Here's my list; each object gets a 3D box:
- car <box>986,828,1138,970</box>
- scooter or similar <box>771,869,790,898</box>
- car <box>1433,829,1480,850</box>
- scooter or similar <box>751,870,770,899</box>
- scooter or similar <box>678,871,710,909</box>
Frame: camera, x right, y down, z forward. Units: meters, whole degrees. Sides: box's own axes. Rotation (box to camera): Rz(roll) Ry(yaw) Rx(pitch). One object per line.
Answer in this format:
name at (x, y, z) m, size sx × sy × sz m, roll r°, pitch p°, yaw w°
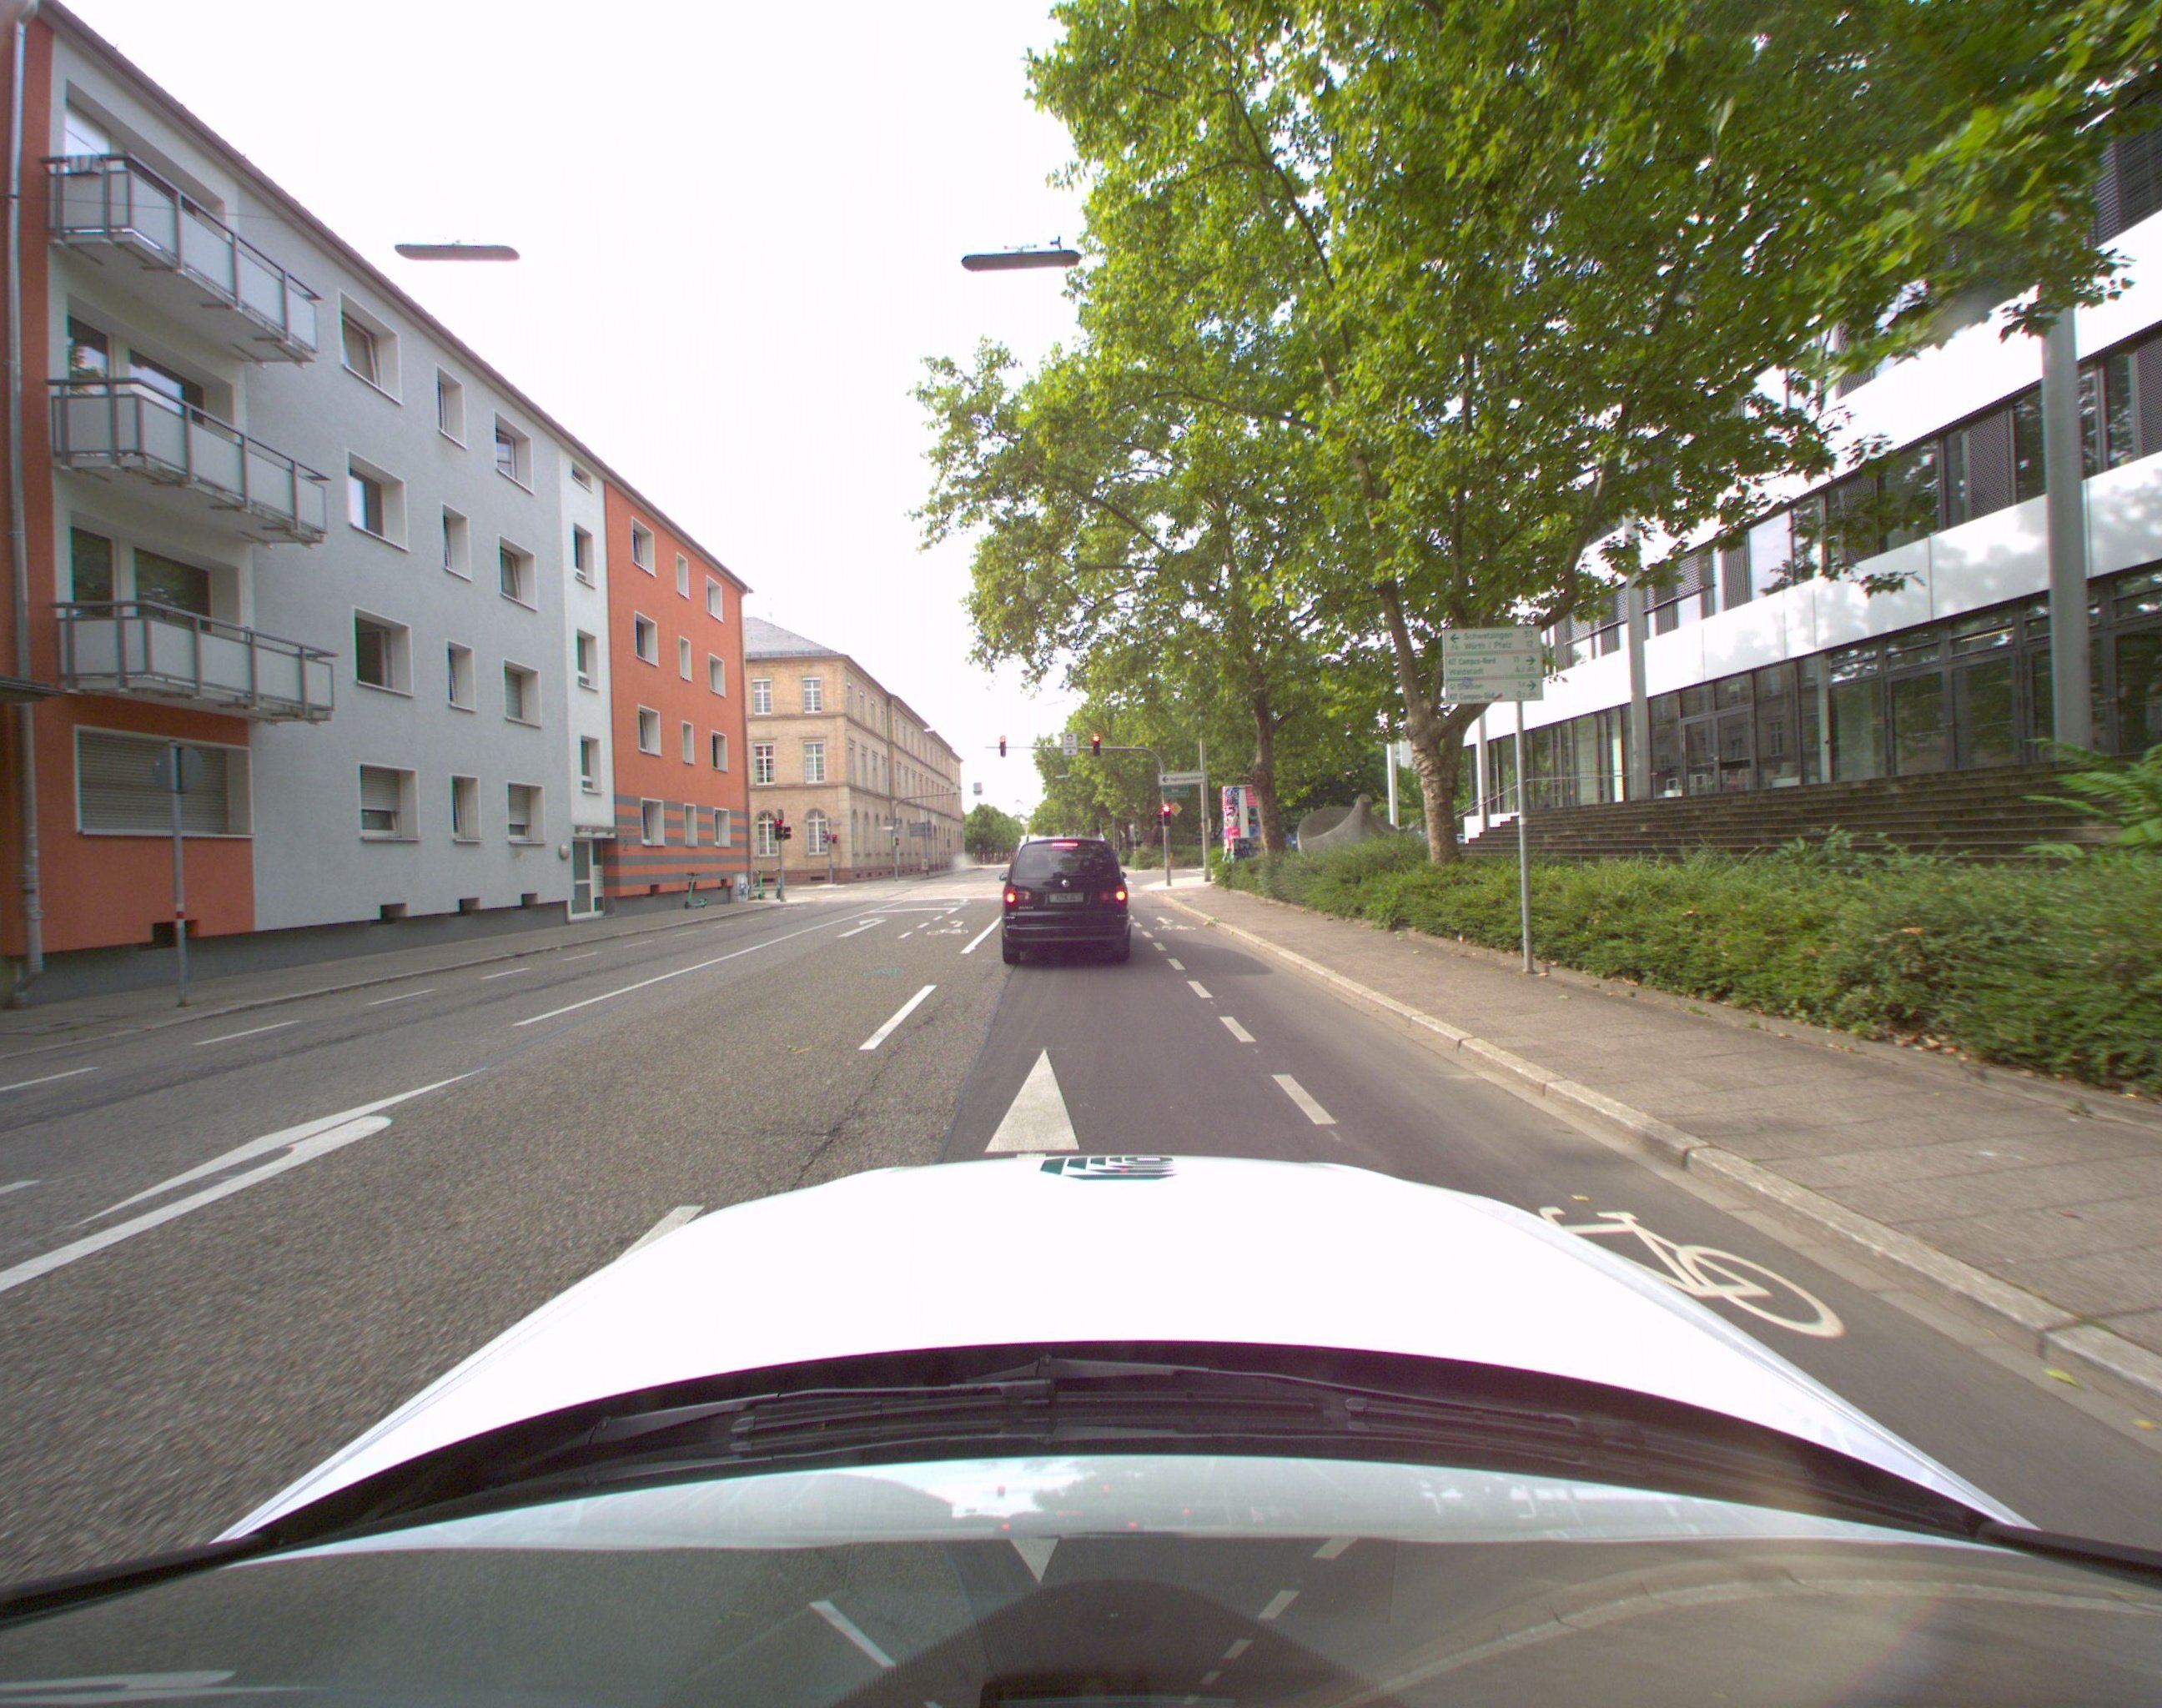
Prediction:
car at (-0.175, 0.549, 12.651) m, size 1.867 × 1.745 × 4.575 m, roll -2°, pitch 0°, yaw 1°
scooter or similar at (-12.305, 1.196, 33.335) m, size 0.377 × 1.144 × 1.140 m, roll -2°, pitch -1°, yaw -4°
car at (32.416, -1.224, 70.496) m, size 1.957 × 1.651 × 4.148 m, roll -2°, pitch 0°, yaw -3°
scooter or similar at (-12.884, 1.209, 32.774) m, size 0.377 × 1.147 × 1.140 m, roll -2°, pitch -1°, yaw -4°
scooter or similar at (-12.616, 1.161, 26.566) m, size 0.377 × 1.183 × 1.389 m, roll -2°, pitch -1°, yaw -1°
